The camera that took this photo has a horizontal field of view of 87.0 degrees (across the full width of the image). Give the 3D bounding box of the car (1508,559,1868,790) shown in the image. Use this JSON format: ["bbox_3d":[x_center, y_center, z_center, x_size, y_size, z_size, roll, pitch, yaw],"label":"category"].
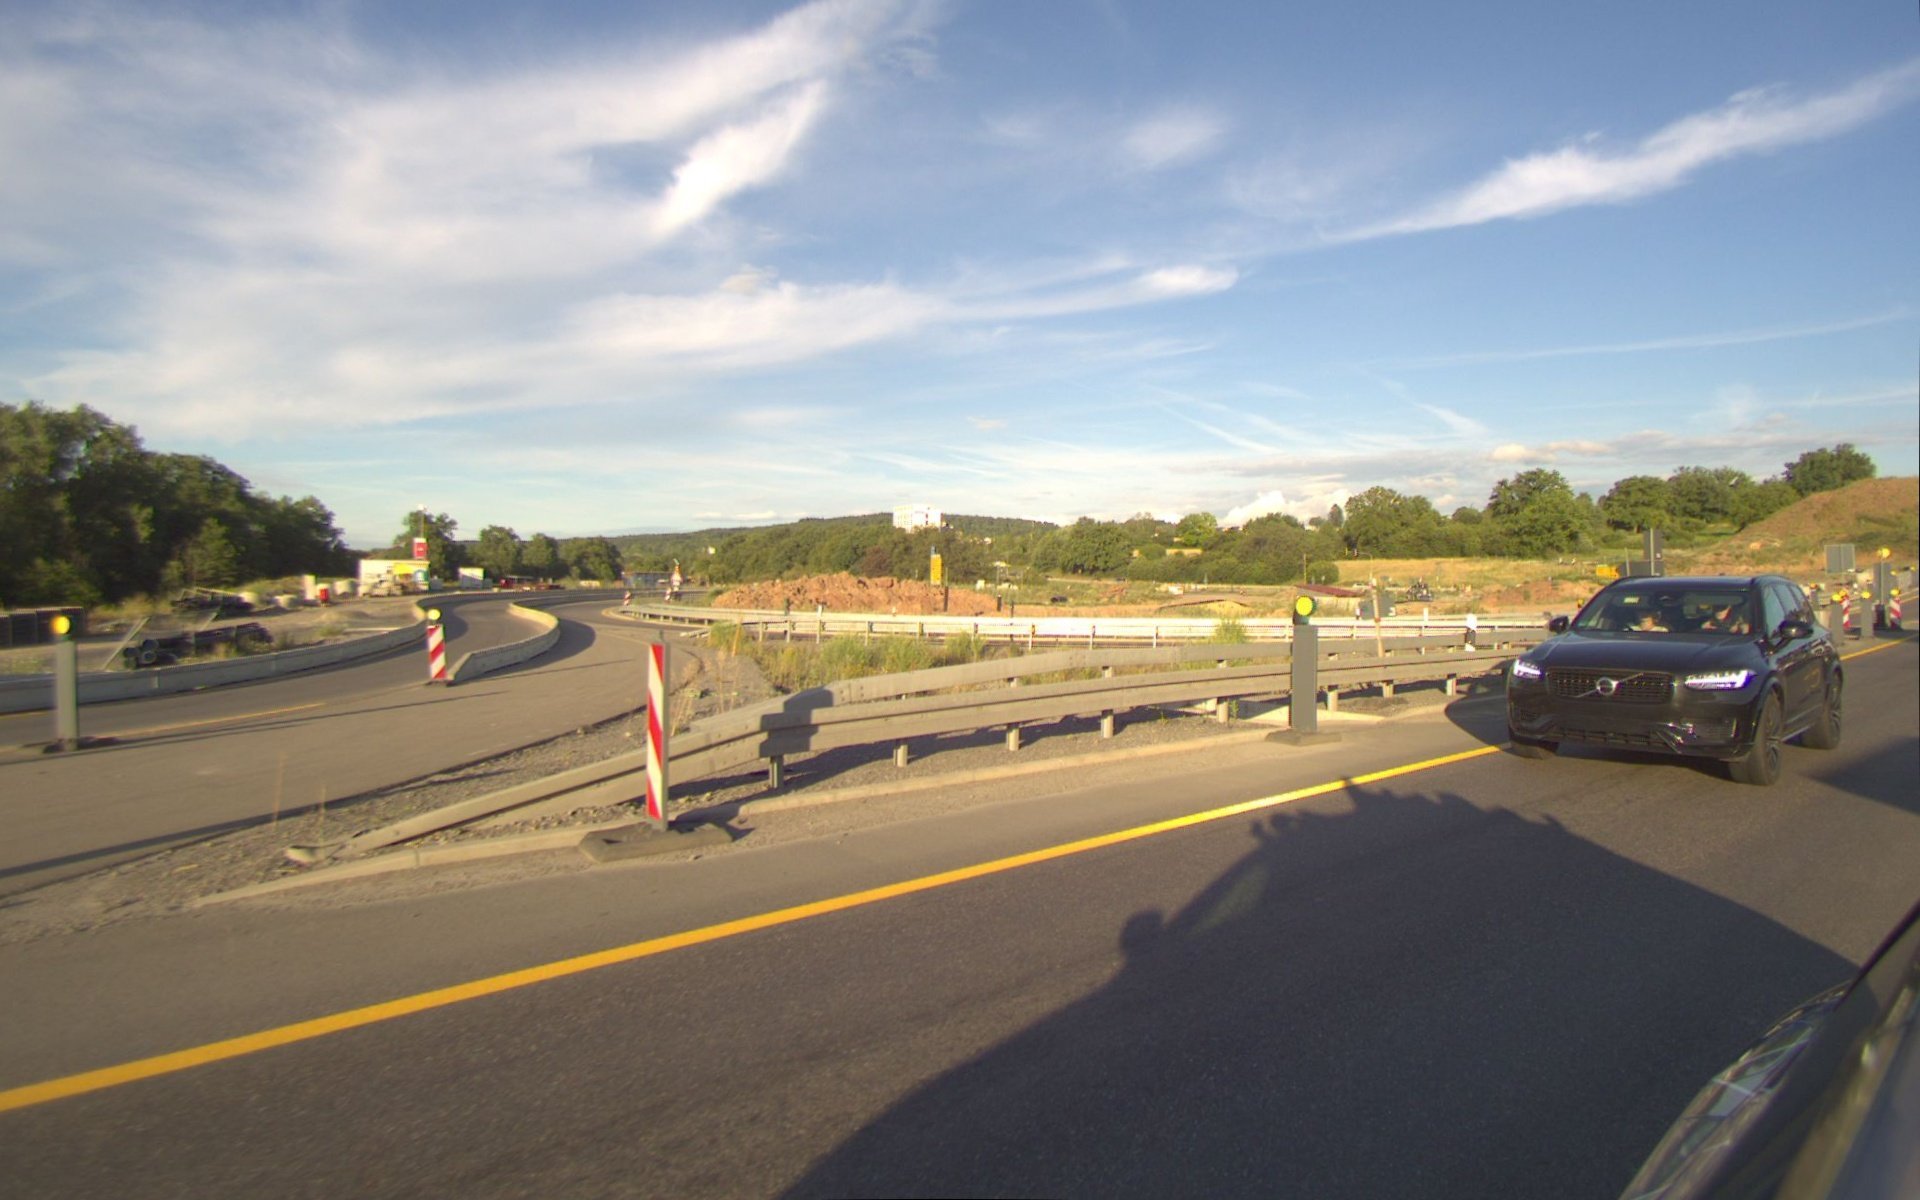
[{"bbox_3d":[7.299,0.553,9.928,4.804,1.735,1.900,0,0,-42],"label":"car"}]
